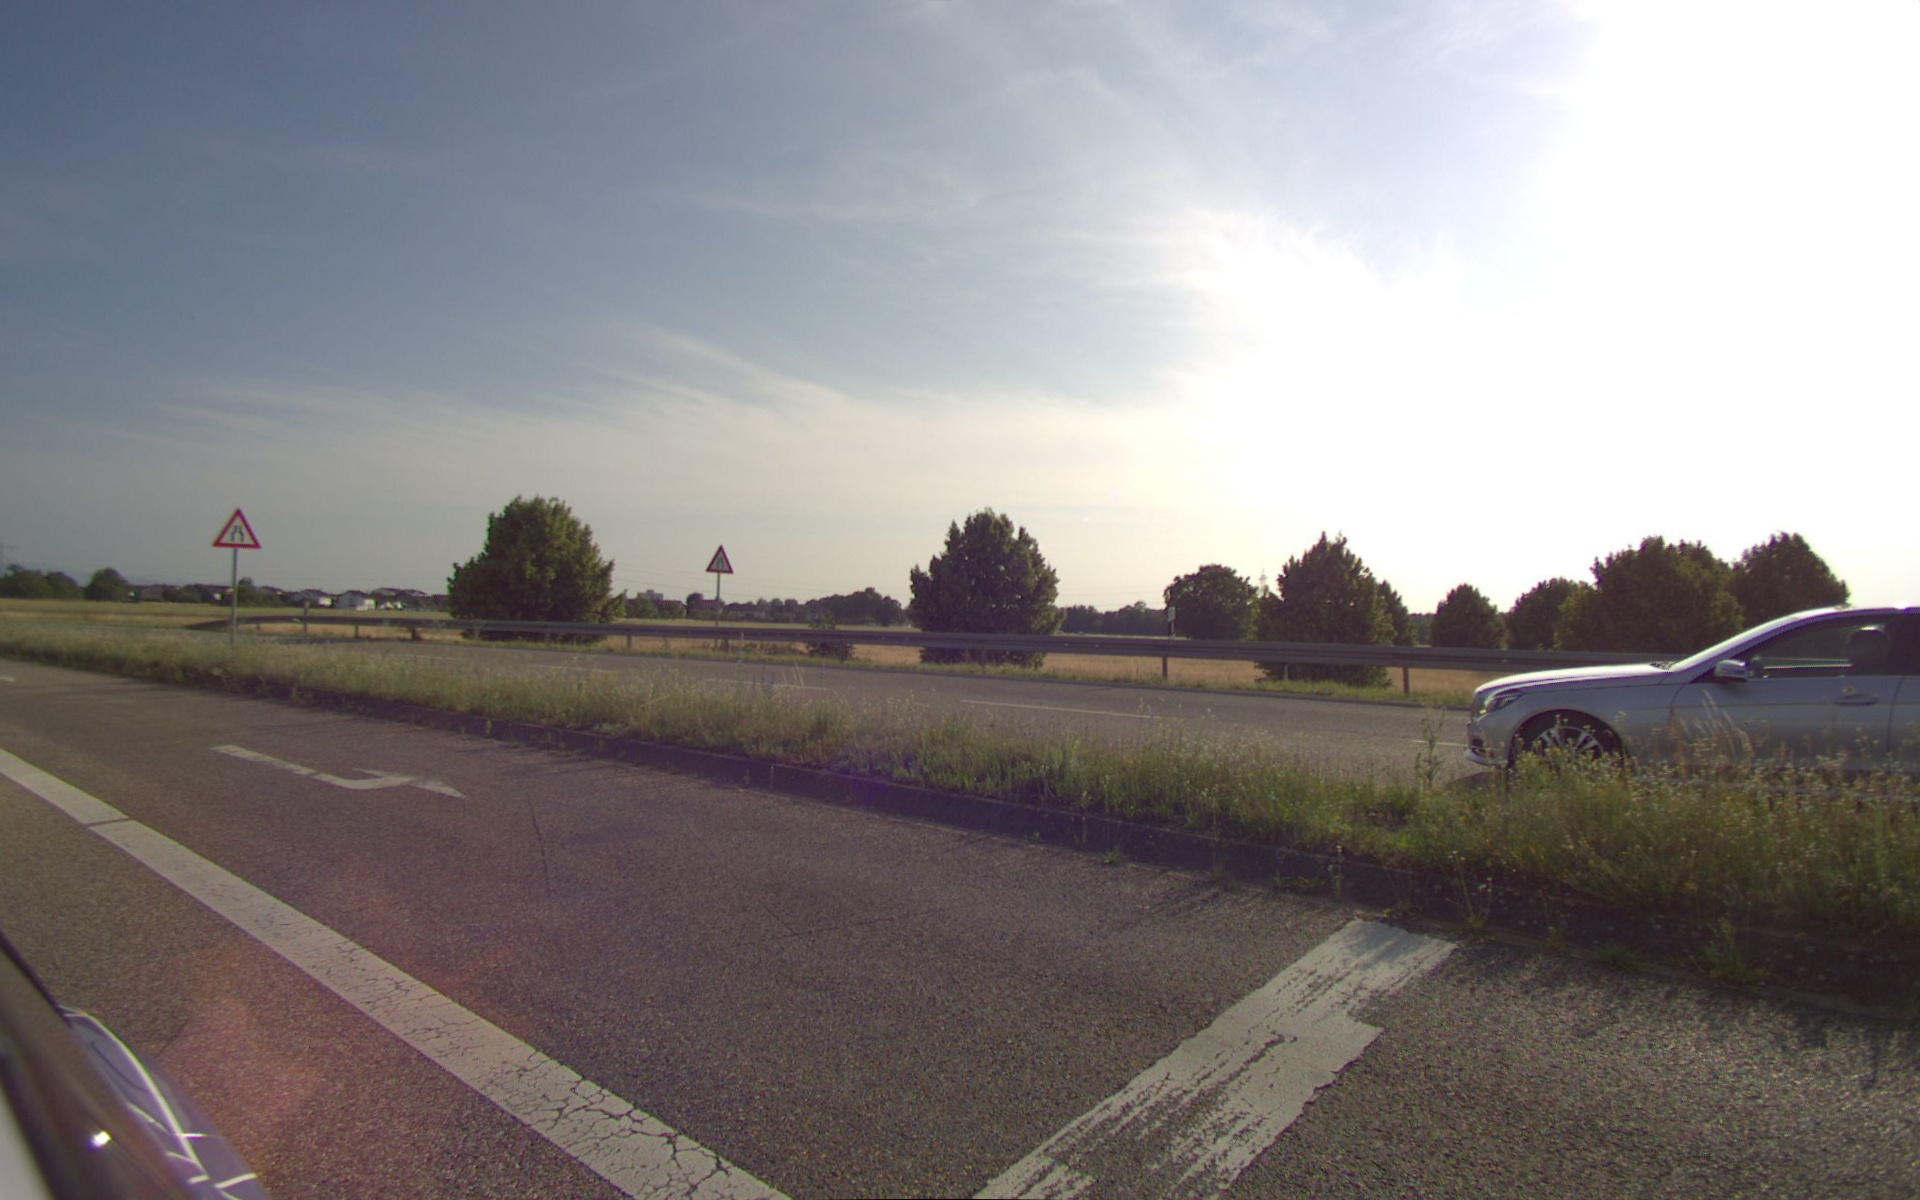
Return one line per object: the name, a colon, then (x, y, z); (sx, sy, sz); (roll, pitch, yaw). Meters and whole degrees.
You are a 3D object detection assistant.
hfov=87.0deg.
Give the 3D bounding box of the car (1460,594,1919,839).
car: (6.149, 0.700, 6.802); (4.699, 1.446, 1.907); (0, -1, 41)
